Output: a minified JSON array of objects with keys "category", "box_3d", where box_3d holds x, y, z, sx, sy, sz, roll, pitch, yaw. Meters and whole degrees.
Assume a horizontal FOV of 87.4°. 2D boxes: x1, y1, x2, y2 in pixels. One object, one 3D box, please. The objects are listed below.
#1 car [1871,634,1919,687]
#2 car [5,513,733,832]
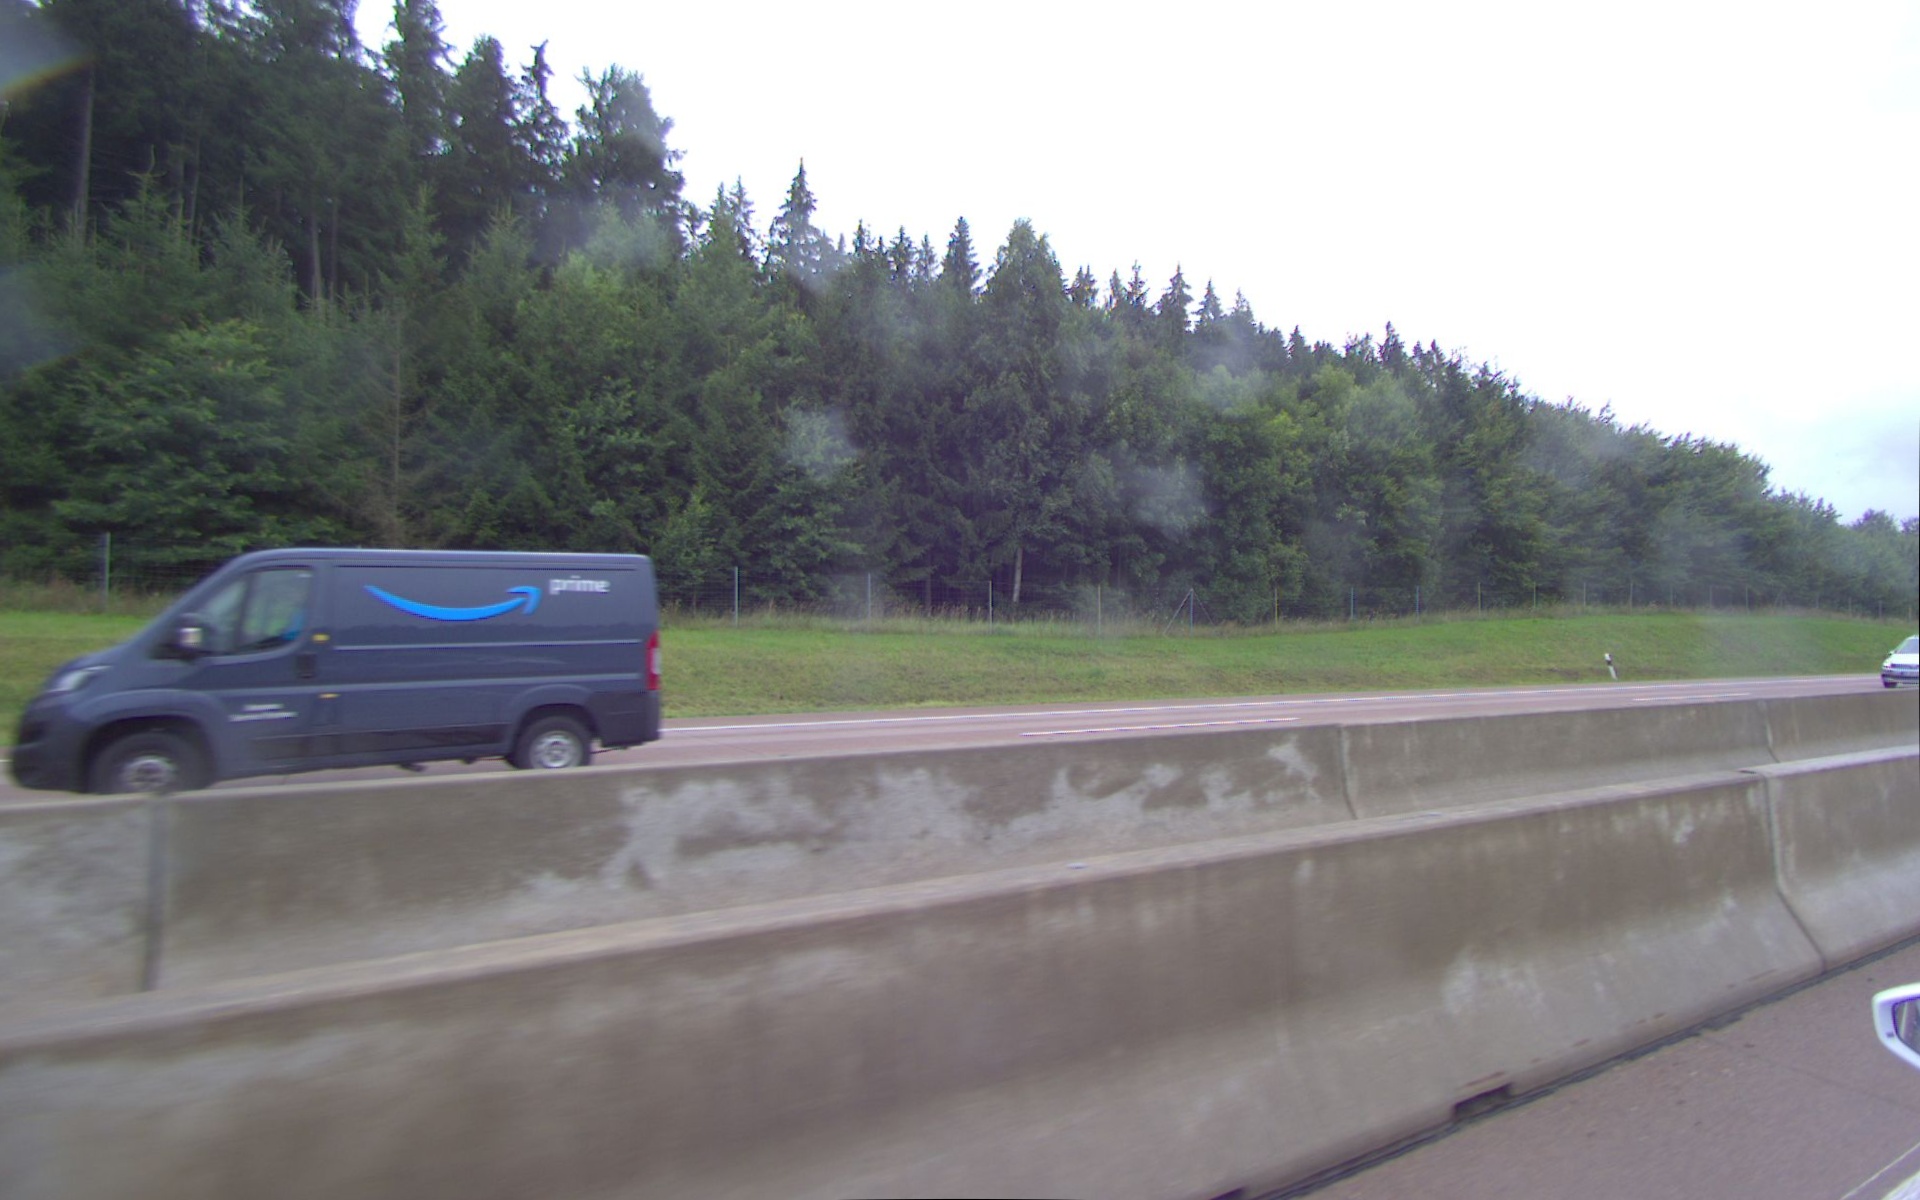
[{"category":"car","box_3d":[30.551,1.876,31.374,4.810,1.577,1.780,2,-3,-31]},{"category":"car","box_3d":[-5.117,0.618,9.561,5.335,2.309,2.091,3,0,-32]}]
